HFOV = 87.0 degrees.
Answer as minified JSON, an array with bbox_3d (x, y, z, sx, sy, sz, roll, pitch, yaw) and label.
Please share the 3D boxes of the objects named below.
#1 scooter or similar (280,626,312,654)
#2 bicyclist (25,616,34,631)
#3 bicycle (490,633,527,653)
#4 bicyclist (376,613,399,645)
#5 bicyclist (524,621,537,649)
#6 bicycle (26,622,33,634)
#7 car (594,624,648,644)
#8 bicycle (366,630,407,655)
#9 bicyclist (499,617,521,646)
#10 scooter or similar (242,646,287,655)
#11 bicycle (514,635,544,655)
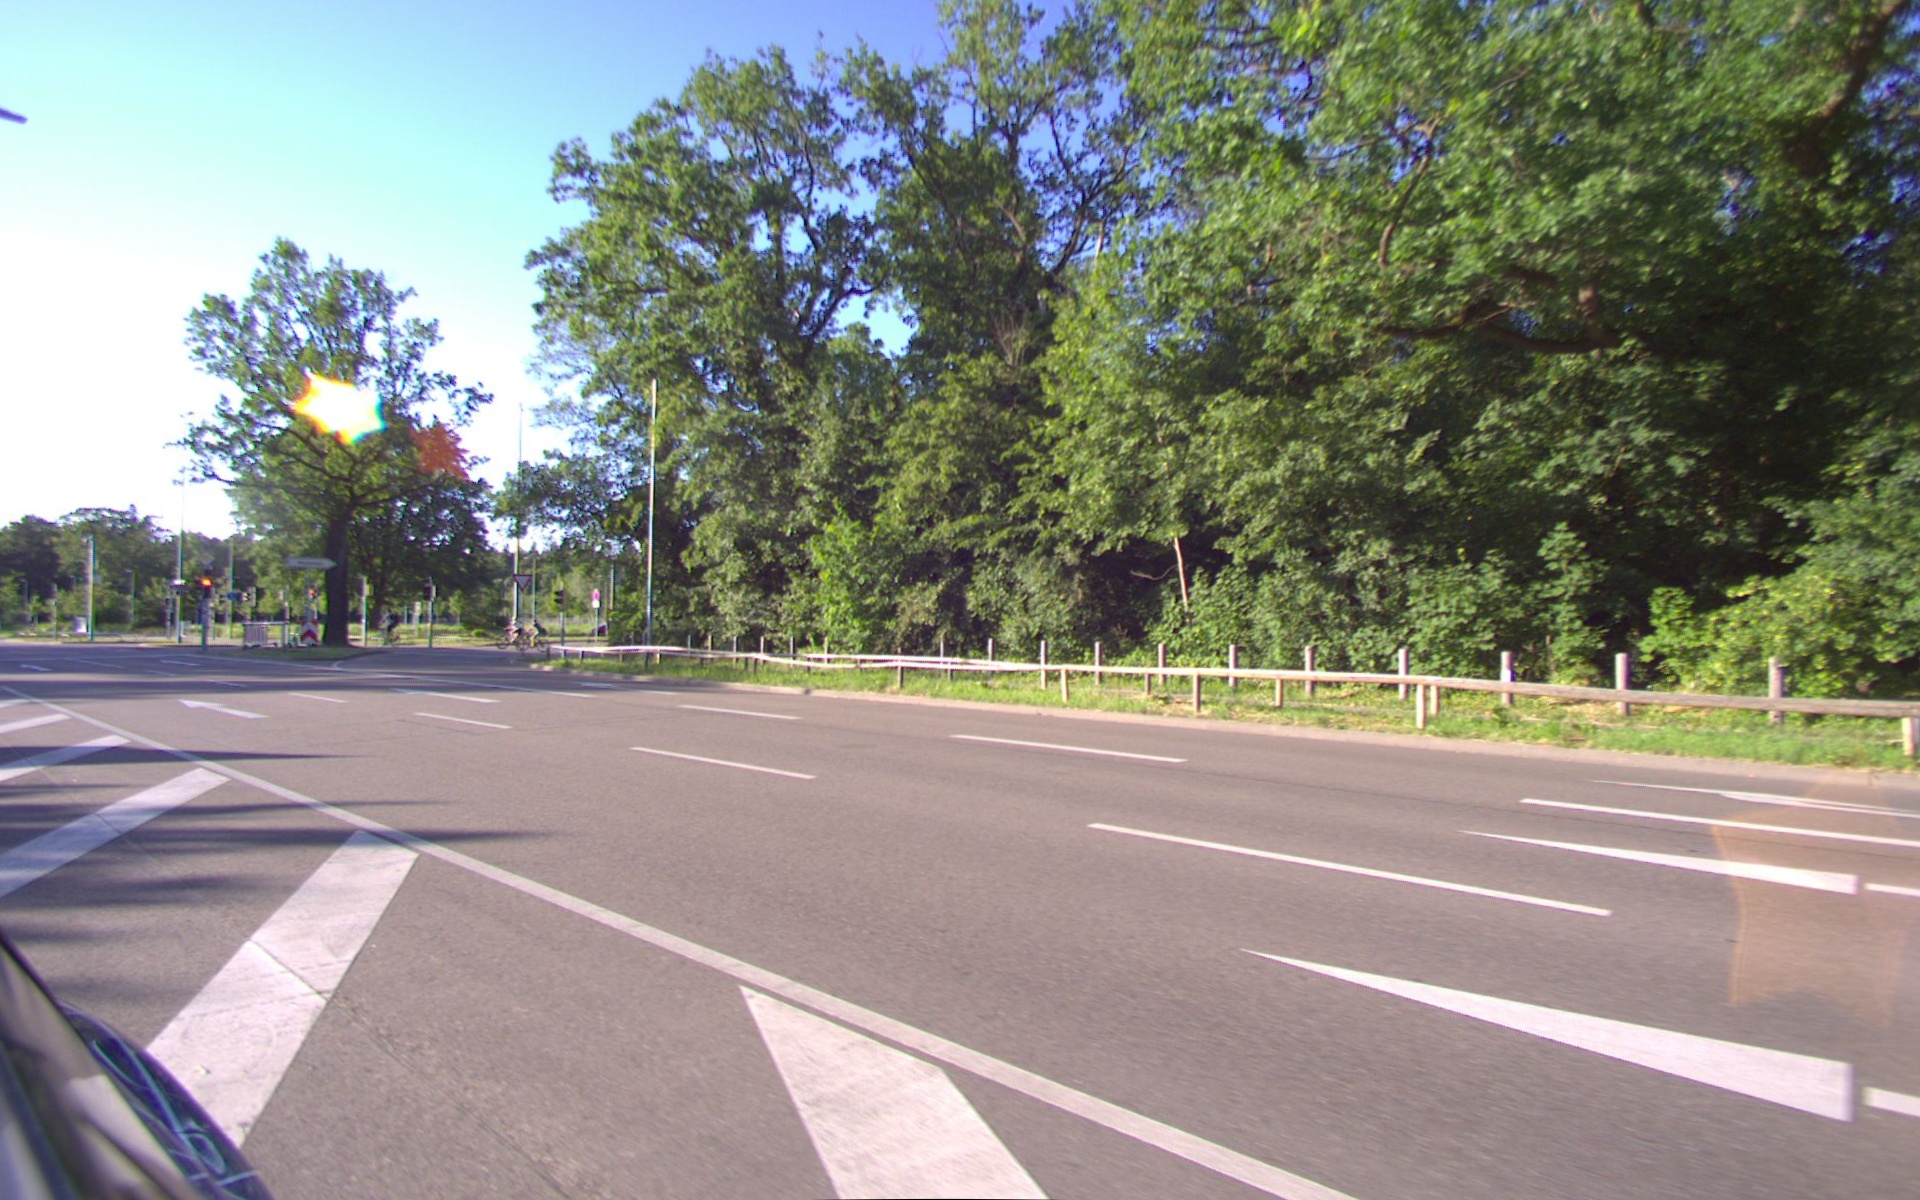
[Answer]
[{"bbox_3d":[-27.914,1.660,42.523,1.054,1.155,0.394,2,-3,-43],"label":"scooter or similar"},{"bbox_3d":[-97.624,2.459,106.202,0.672,1.623,0.801,0,-1,-44],"label":"bicyclist"},{"bbox_3d":[-23.351,2.230,52.389,1.571,0.984,0.783,-1,0,6],"label":"bicycle"},{"bbox_3d":[-28.009,1.421,49.541,0.792,1.563,0.561,-3,-3,14],"label":"bicyclist"},{"bbox_3d":[-21.613,1.761,50.882,0.520,1.411,0.520,-1,-1,-14],"label":"bicyclist"},{"bbox_3d":[-97.674,2.913,106.266,0.487,1.247,1.796,0,-1,-45],"label":"bicycle"},{"bbox_3d":[-28.344,2.812,84.589,3.935,1.521,1.660,0,0,-37],"label":"car"},{"bbox_3d":[-28.108,2.082,49.589,1.970,1.163,0.677,-3,-2,21],"label":"bicycle"},{"bbox_3d":[-23.269,1.624,52.386,0.790,1.494,0.729,-1,0,5],"label":"bicyclist"},{"bbox_3d":[-29.351,2.125,42.718,1.390,0.342,1.261,1,-3,-43],"label":"scooter or similar"},{"bbox_3d":[-21.666,2.262,50.862,1.332,0.984,0.524,-1,0,-14],"label":"bicycle"}]
